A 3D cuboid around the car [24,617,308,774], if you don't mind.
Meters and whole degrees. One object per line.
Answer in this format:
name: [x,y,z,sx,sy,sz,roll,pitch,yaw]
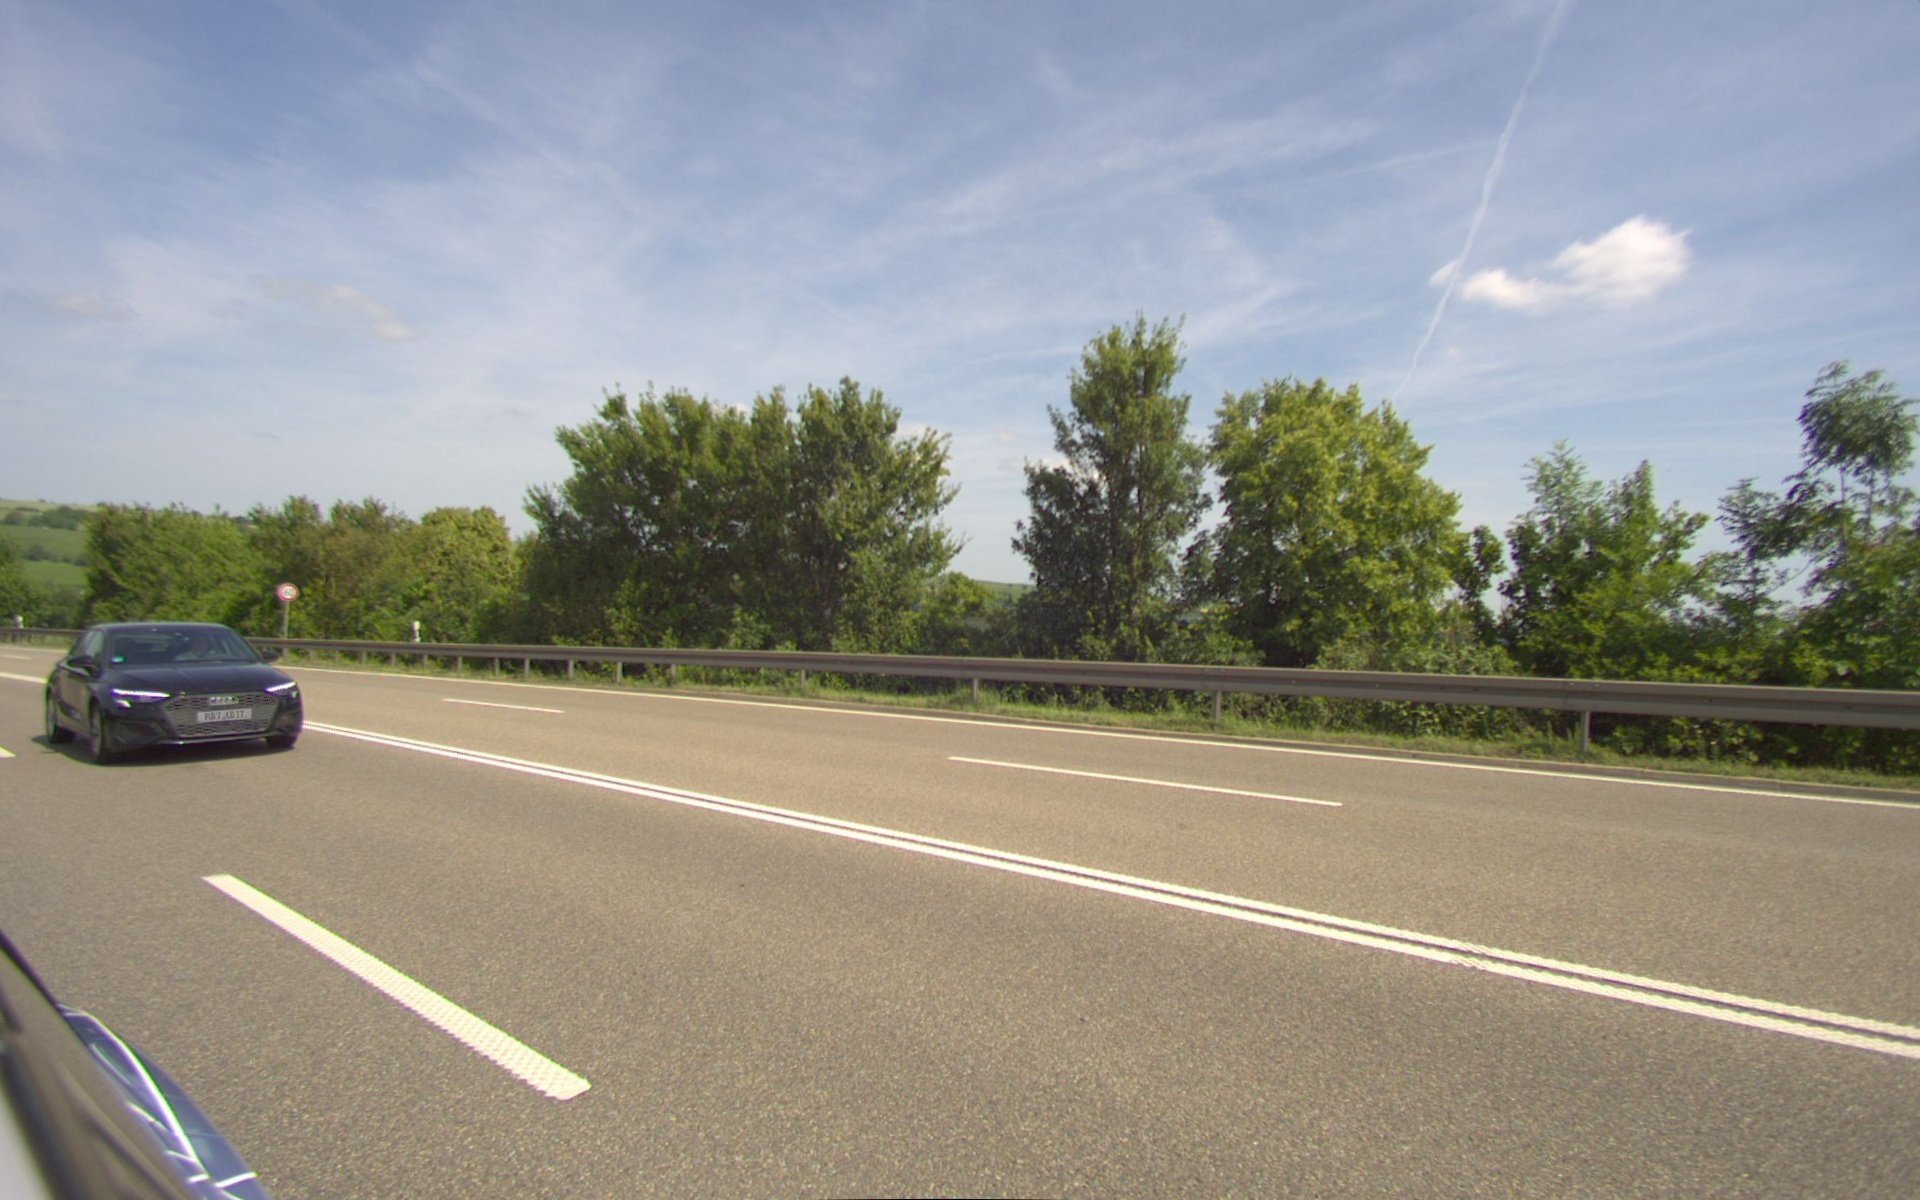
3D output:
car: [-9.377,0.966,11.789,4.808,1.483,1.688,-2,-2,40]
